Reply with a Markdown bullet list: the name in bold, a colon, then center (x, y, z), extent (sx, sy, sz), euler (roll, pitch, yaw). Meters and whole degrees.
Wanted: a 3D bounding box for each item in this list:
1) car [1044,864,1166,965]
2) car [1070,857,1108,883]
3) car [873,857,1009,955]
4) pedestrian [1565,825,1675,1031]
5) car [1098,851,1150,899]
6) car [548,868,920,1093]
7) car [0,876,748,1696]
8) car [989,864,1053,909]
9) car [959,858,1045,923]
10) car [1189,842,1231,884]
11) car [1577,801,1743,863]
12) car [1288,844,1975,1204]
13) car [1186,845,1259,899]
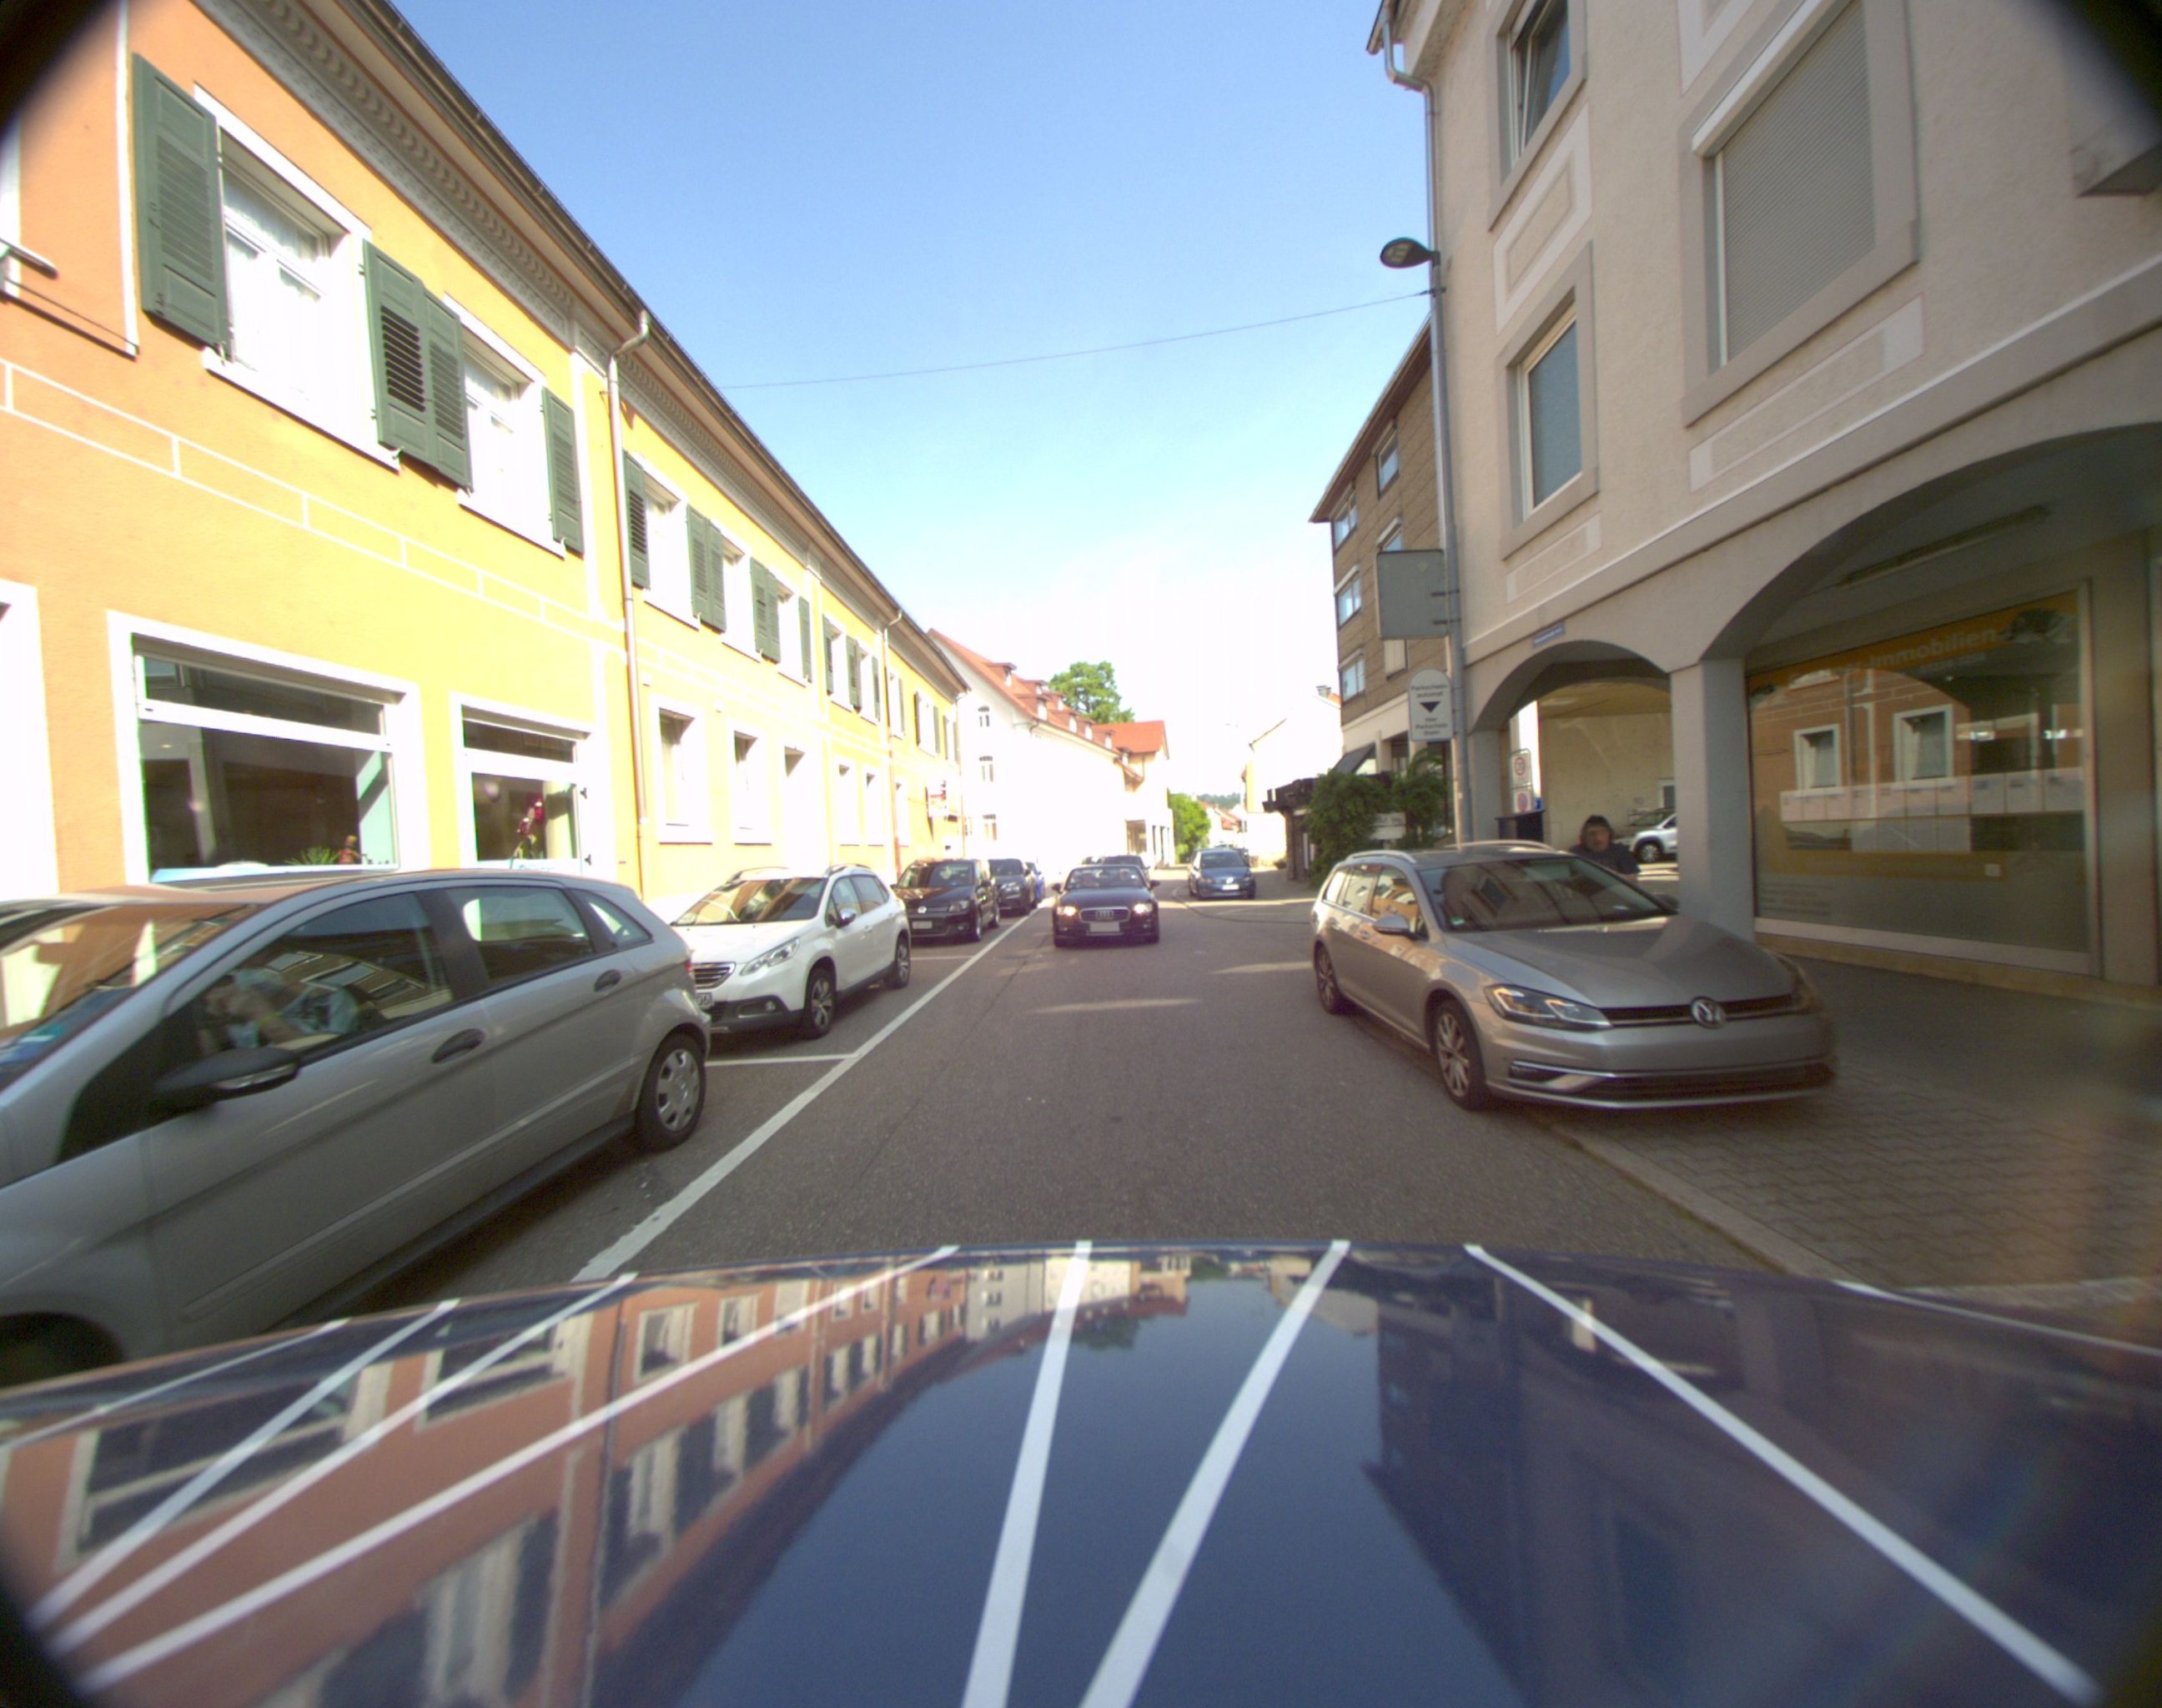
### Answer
- **car**: center (0.475, 0.922, 13.268), extent (1.754, 1.348, 4.200), euler (-2, 0, 3)
- **car**: center (0.511, 0.853, 41.769), extent (1.526, 1.237, 4.036), euler (-2, 0, 8)
- **car**: center (-2.654, 0.920, 15.392), extent (1.682, 1.636, 4.252), euler (-2, 0, 3)
- **pedestrian**: center (4.254, 0.557, 6.039), extent (0.533, 1.542, 0.624), euler (-3, 1, 23)
- **car**: center (1.550, 0.708, 27.505), extent (1.682, 1.552, 3.971), euler (-2, 0, 3)
- **car**: center (-3.088, 1.009, 7.847), extent (1.682, 1.549, 4.104), euler (-3, 0, 3)
- **car**: center (-3.140, 0.997, 2.705), extent (1.749, 1.588, 4.594), euler (-3, 0, 1)
- **car**: center (-2.020, 1.073, 26.644), extent (1.682, 1.311, 3.696), euler (-3, 0, 3)
- **car**: center (-2.100, 0.936, 21.288), extent (1.682, 1.531, 4.187), euler (-2, 0, 3)
- **car**: center (5.726, 0.356, 33.428), extent (1.681, 1.658, 3.974), euler (-2, 0, 11)
- **car**: center (16.149, -0.596, 21.337), extent (3.255, 1.477, 1.695), euler (-3, 0, 8)
- **car**: center (2.945, 0.726, 5.471), extent (1.807, 1.461, 4.455), euler (-3, 0, 3)
- **car**: center (4.474, 0.527, 24.521), extent (1.769, 1.552, 3.971), euler (-2, 0, 3)
